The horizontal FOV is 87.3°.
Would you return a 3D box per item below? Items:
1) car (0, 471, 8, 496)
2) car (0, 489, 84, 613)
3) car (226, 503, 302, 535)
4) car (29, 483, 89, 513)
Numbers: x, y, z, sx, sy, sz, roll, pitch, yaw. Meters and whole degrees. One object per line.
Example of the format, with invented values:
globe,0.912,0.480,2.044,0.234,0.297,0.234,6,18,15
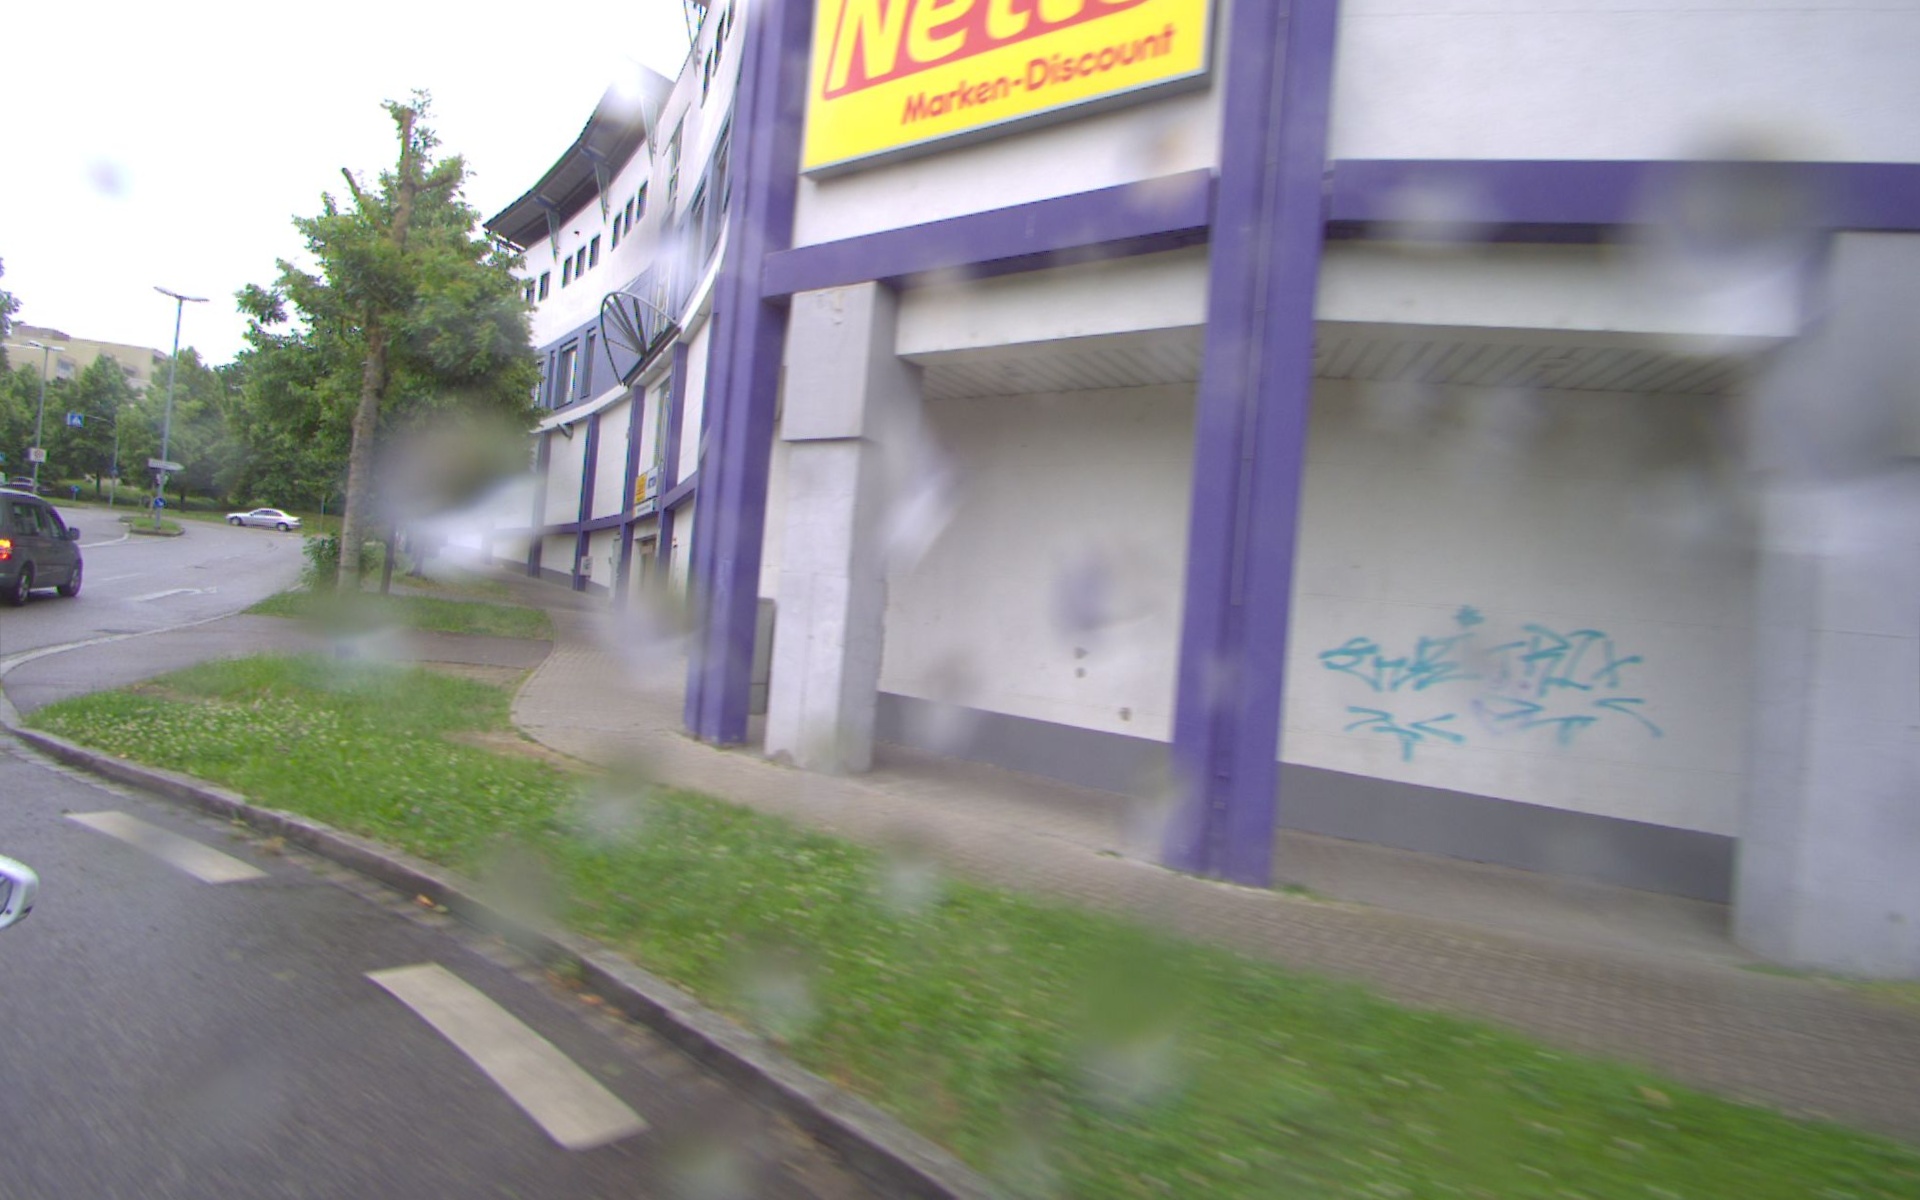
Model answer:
car,-79.201,-9.589,81.105,3.927,1.895,2.000,5,-1,23
car,-16.159,-0.934,16.563,1.905,1.824,3.757,6,1,-32
car,-48.602,-5.621,70.325,3.949,1.584,1.876,7,-2,-25
car,-70.567,-7.969,78.796,3.790,1.895,1.852,5,-1,21
